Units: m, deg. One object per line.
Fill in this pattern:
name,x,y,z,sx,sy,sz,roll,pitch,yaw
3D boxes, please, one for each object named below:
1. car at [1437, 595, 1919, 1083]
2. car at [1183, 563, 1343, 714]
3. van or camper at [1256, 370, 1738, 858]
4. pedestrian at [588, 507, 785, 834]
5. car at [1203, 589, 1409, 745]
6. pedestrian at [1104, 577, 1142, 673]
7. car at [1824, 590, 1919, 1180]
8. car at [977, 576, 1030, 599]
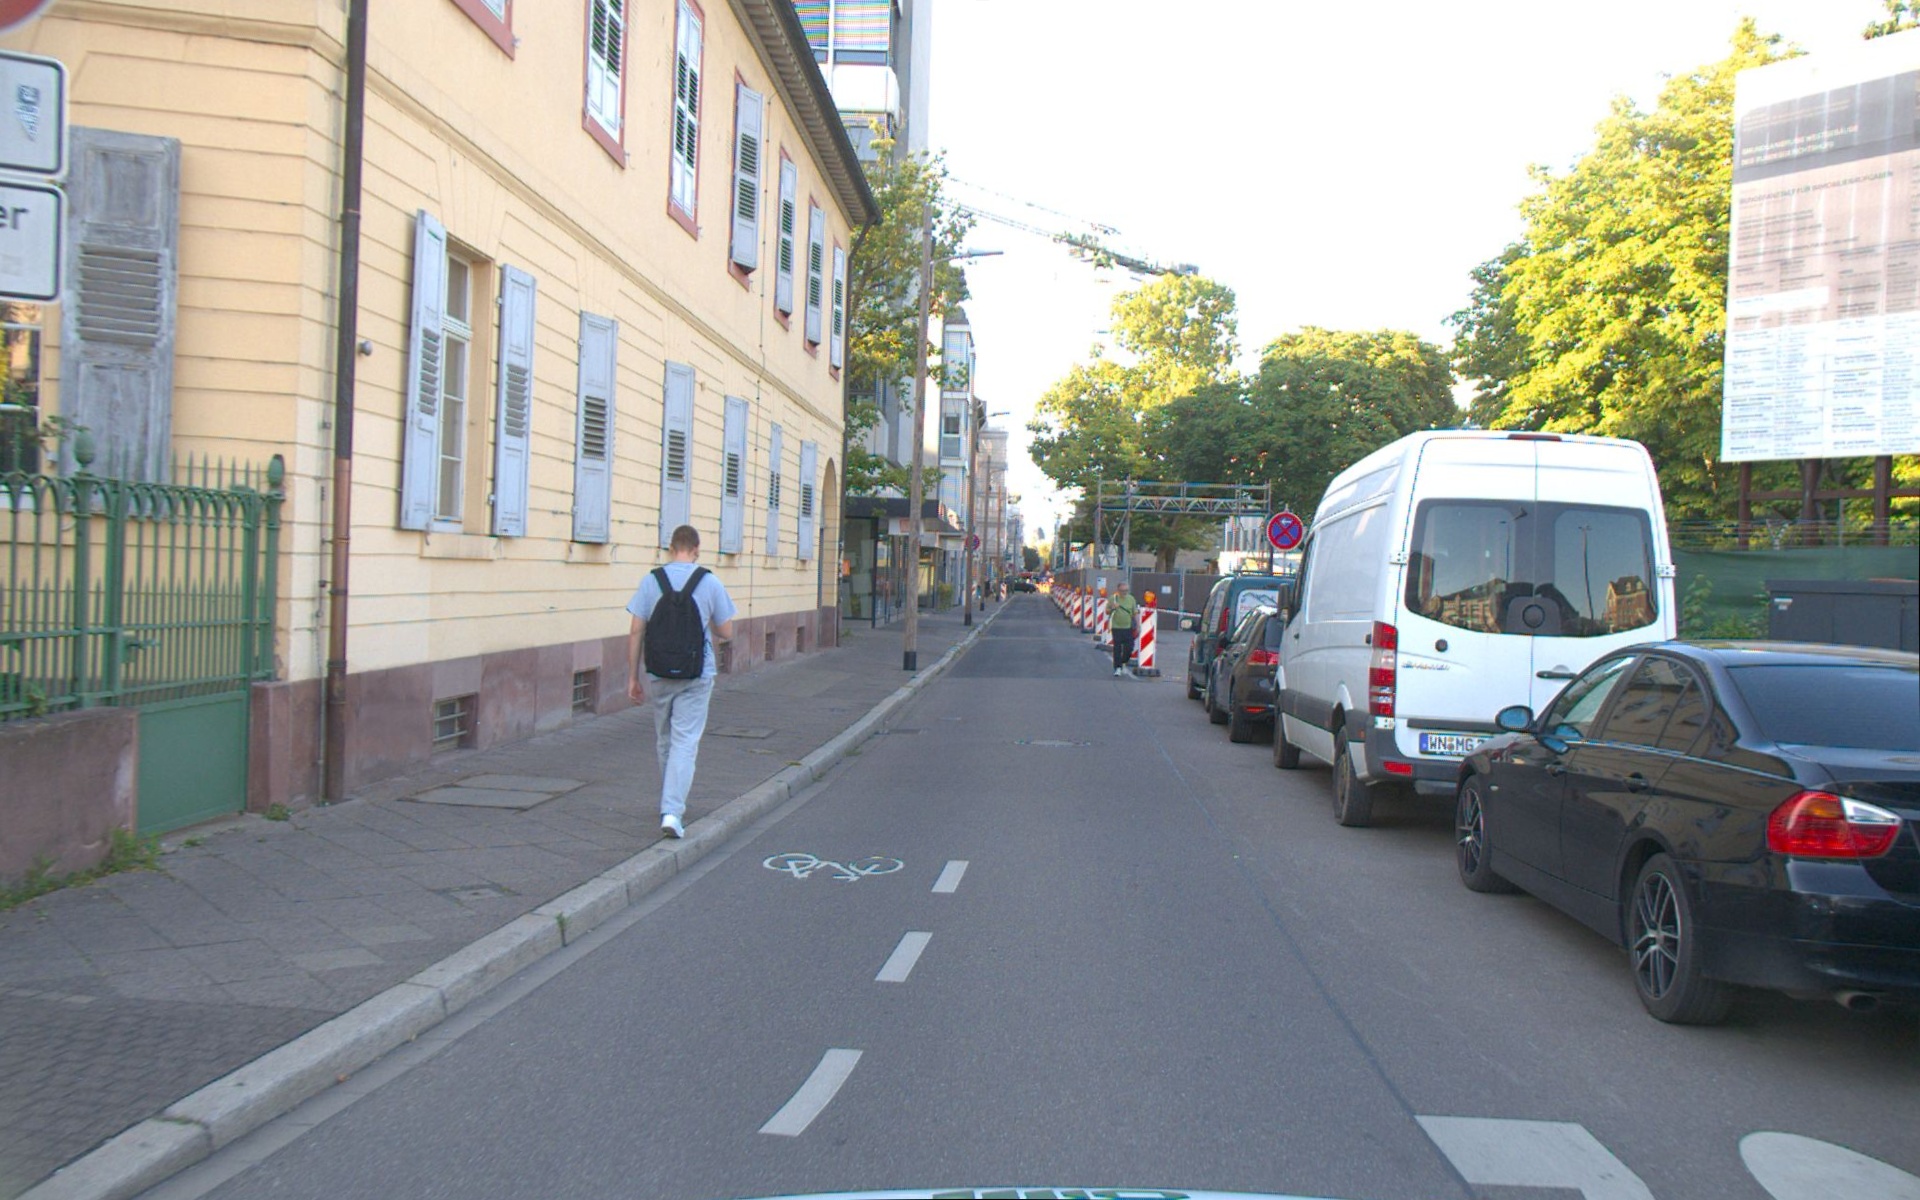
car,3.545,0.757,7.331,1.693,1.454,4.475,2,1,2
car,4.182,0.471,23.354,1.677,1.881,4.024,2,1,3
van or camper,3.747,0.062,13.009,2.033,2.823,6.453,2,0,4
pedestrian,-1.551,0.380,9.496,0.858,1.754,0.830,2,0,6
car,3.788,0.659,18.727,1.657,1.485,4.101,2,1,3
pedestrian,2.907,0.434,29.508,0.600,1.657,0.819,2,0,5
car,3.426,0.809,2.755,1.741,1.570,4.291,2,1,1
car,3.045,-0.850,115.651,3.666,1.485,1.698,2,0,1
